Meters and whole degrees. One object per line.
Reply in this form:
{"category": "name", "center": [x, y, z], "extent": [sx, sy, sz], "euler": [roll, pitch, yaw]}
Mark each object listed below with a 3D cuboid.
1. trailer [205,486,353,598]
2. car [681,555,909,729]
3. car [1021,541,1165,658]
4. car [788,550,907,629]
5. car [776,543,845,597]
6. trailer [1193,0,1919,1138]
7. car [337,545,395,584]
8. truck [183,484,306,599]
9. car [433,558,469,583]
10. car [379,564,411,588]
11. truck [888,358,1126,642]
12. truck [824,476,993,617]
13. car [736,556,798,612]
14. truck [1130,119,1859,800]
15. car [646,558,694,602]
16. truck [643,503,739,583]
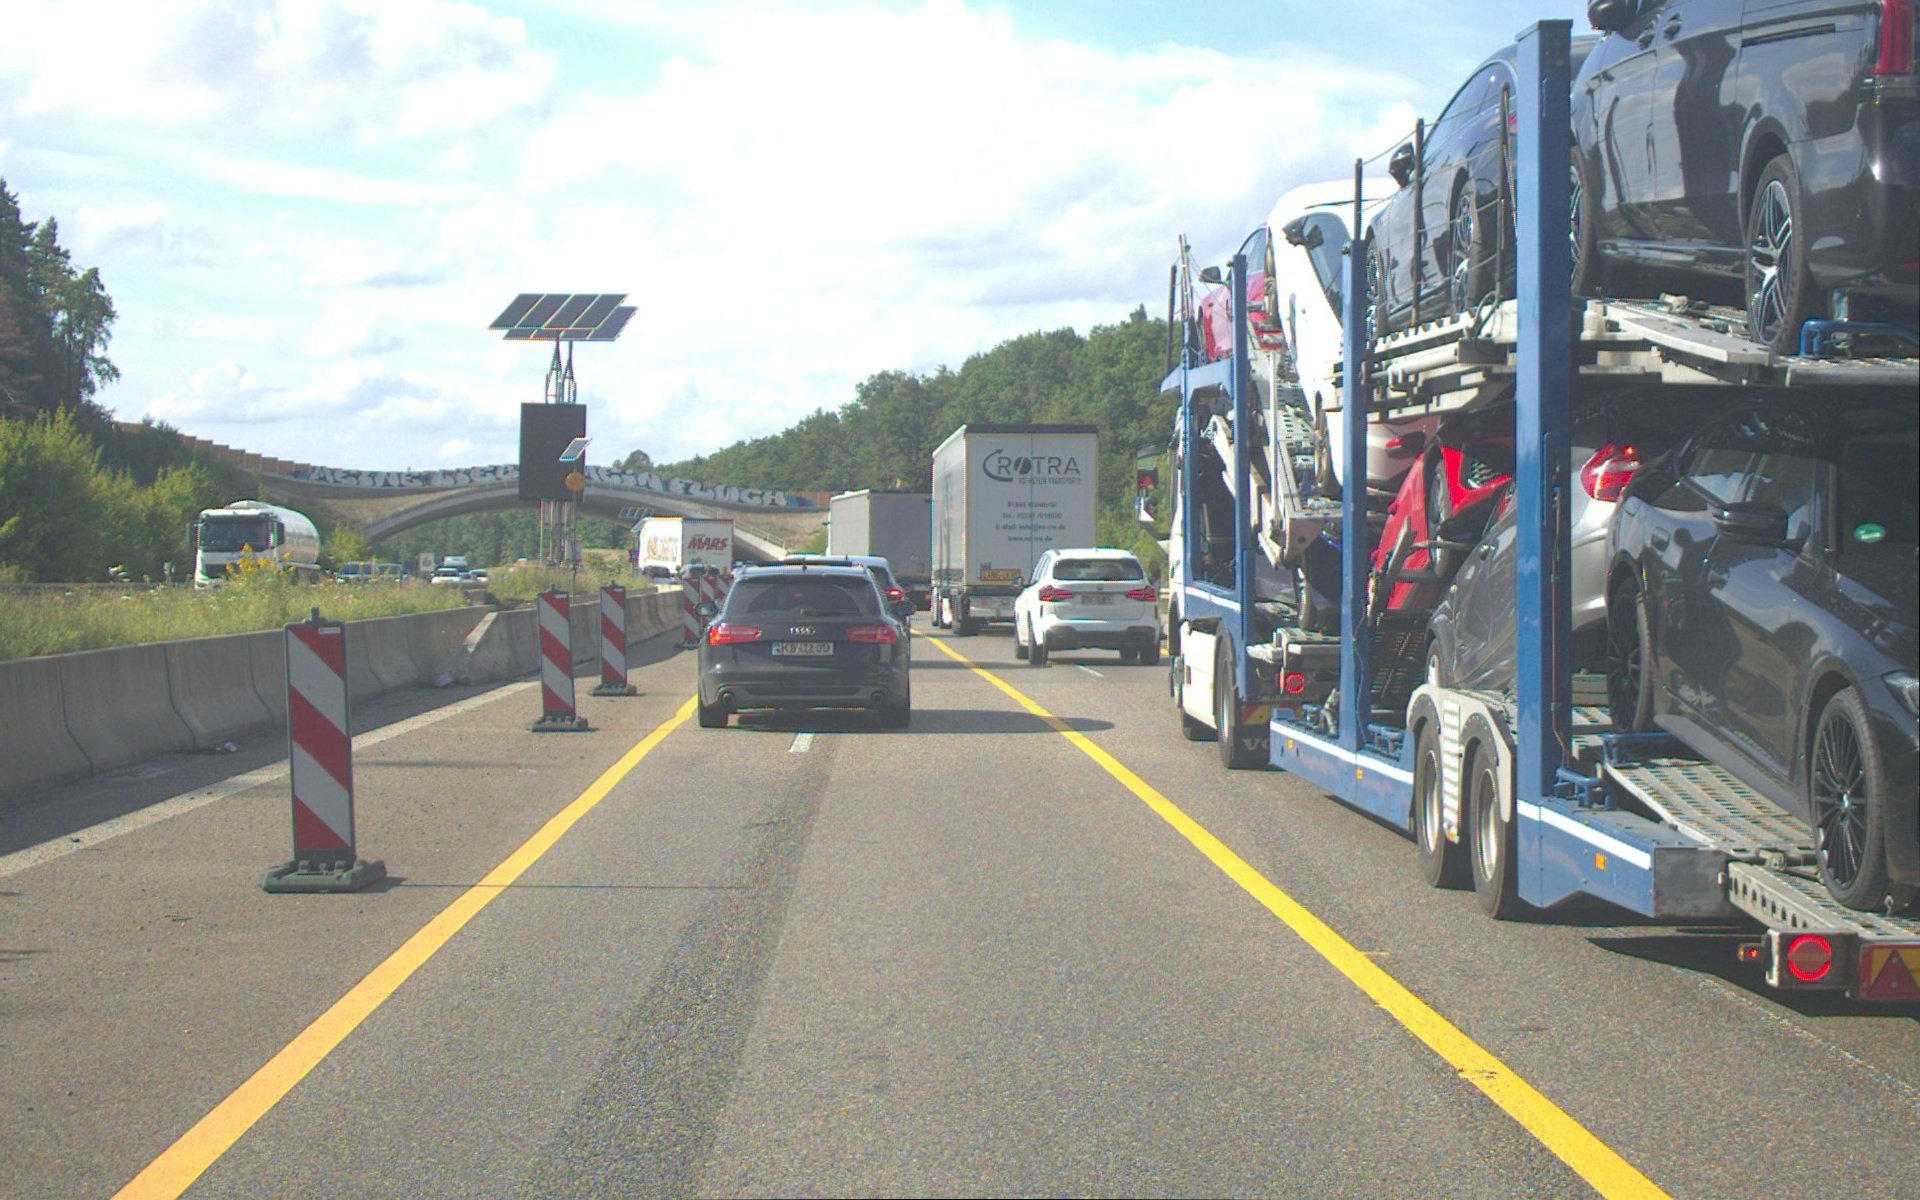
{"category": "trailer", "center": [-22.217, -1.852, 112.780], "extent": [2.802, 3.478, 11.113], "euler": [1, 0, -1]}
{"category": "car", "center": [-1.420, 0.339, 30.940], "extent": [1.890, 1.441, 4.000], "euler": [1, 0, -1]}
{"category": "car", "center": [1.905, -0.022, 50.443], "extent": [1.890, 1.638, 4.018], "euler": [1, 0, -1]}
{"category": "car", "center": [-2.166, -0.215, 65.210], "extent": [1.890, 1.441, 4.001], "euler": [1, 0, -7]}
{"category": "car", "center": [-4.653, -0.935, 106.729], "extent": [1.890, 1.638, 4.018], "euler": [1, 0, -6]}
{"category": "trailer", "center": [3.925, -0.793, 16.797], "extent": [3.726, 4.182, 16.229], "euler": [1, 0, -3]}
{"category": "car", "center": [-24.862, -1.464, 143.988], "extent": [1.778, 1.597, 4.018], "euler": [1, 0, -1]}
{"category": "truck", "center": [-22.144, -1.796, 106.593], "extent": [2.785, 3.478, 4.939], "euler": [1, 0, -1]}
{"category": "car", "center": [-32.404, -1.874, 218.956], "extent": [1.778, 1.597, 4.018], "euler": [1, 0, -1]}
{"category": "car", "center": [-38.303, -1.623, 233.228], "extent": [1.777, 1.597, 4.677], "euler": [1, 0, -5]}
{"category": "truck", "center": [0.721, -1.950, 73.078], "extent": [3.677, 5.335, 16.203], "euler": [1, 0, -4]}
{"category": "truck", "center": [-1.908, -1.789, 118.144], "extent": [4.318, 4.584, 11.127], "euler": [0, 0, -9]}
{"category": "car", "center": [-6.997, -0.586, 124.226], "extent": [1.993, 2.007, 4.001], "euler": [1, 0, -6]}
{"category": "truck", "center": [3.519, -0.894, 25.281], "extent": [3.761, 4.182, 7.952], "euler": [1, 0, -3]}
{"category": "car", "center": [-13.454, -0.944, 159.237], "extent": [1.993, 2.007, 4.001], "euler": [0, 0, -8]}
{"category": "truck", "center": [-13.681, -2.846, 173.932], "extent": [3.653, 3.915, 11.070], "euler": [0, 0, -11]}
